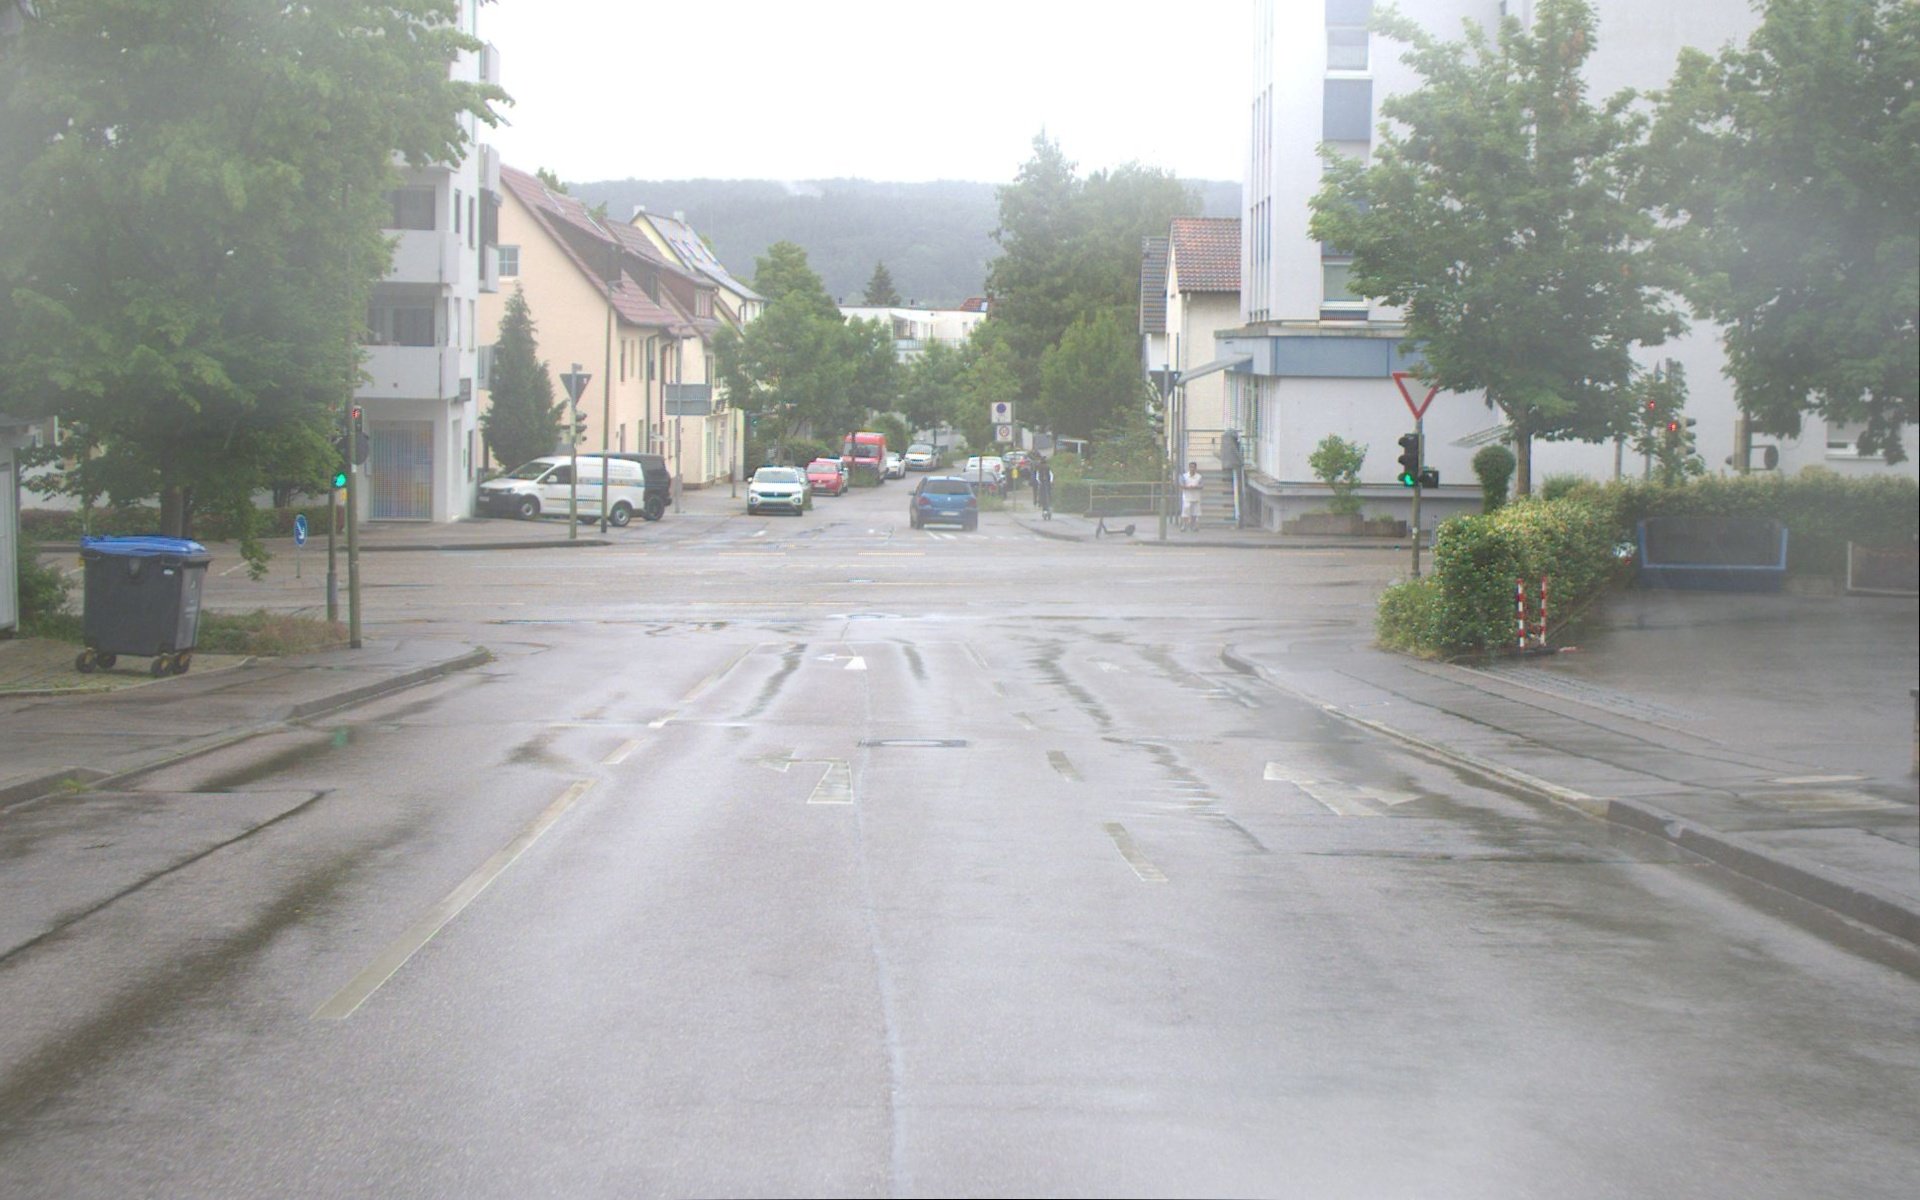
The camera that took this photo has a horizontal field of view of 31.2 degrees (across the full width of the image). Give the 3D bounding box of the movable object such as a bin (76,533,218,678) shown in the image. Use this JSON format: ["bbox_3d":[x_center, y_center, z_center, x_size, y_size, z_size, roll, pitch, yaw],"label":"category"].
[{"bbox_3d":[-7.888,0.043,33.421,1.071,1.343,1.319,2,1,-3],"label":"movable object such as a bin"}]

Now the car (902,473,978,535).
[{"bbox_3d":[-0.597,-2.729,97.068,1.993,1.678,4.001,0,2,-2],"label":"car"}]

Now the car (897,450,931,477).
[{"bbox_3d":[-2.672,-7.947,200.315,1.901,1.553,4.192,0,2,0],"label":"car"}]

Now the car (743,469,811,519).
[{"bbox_3d":[-6.034,-3.525,113.672,1.993,1.620,4.192,0,2,0],"label":"car"}]

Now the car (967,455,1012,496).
[{"bbox_3d":[1.274,-5.396,149.271,1.901,1.739,4.192,0,2,0],"label":"car"}]

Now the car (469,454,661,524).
[{"bbox_3d":[-10.700,-3.031,93.361,4.830,1.829,2.000,-2,3,-38],"label":"car"}]

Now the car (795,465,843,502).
[{"bbox_3d":[-6.128,-5.105,150.111,1.901,1.553,4.192,0,2,0],"label":"car"}]

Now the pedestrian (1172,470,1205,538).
[{"bbox_3d":[5.689,-2.393,85.674,0.647,1.641,0.526,3,1,-7],"label":"pedestrian"}]

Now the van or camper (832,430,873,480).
[{"bbox_3d":[-5.376,-7.279,172.610,1.901,2.504,4.239,0,2,0],"label":"van or camper"}]

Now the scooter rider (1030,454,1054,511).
[{"bbox_3d":[2.633,-3.779,110.510,0.752,1.789,0.673,0,2,0],"label":"scooter rider"}]

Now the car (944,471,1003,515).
[{"bbox_3d":[0.494,-3.957,126.999,2.146,1.583,4.128,0,2,0],"label":"car"}]

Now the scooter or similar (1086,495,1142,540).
[{"bbox_3d":[3.787,-2.027,84.393,1.268,1.077,0.877,-1,2,-5],"label":"scooter or similar"}]

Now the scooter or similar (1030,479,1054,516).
[{"bbox_3d":[2.628,-3.293,110.592,0.757,1.167,1.314,0,2,1],"label":"scooter or similar"}]
